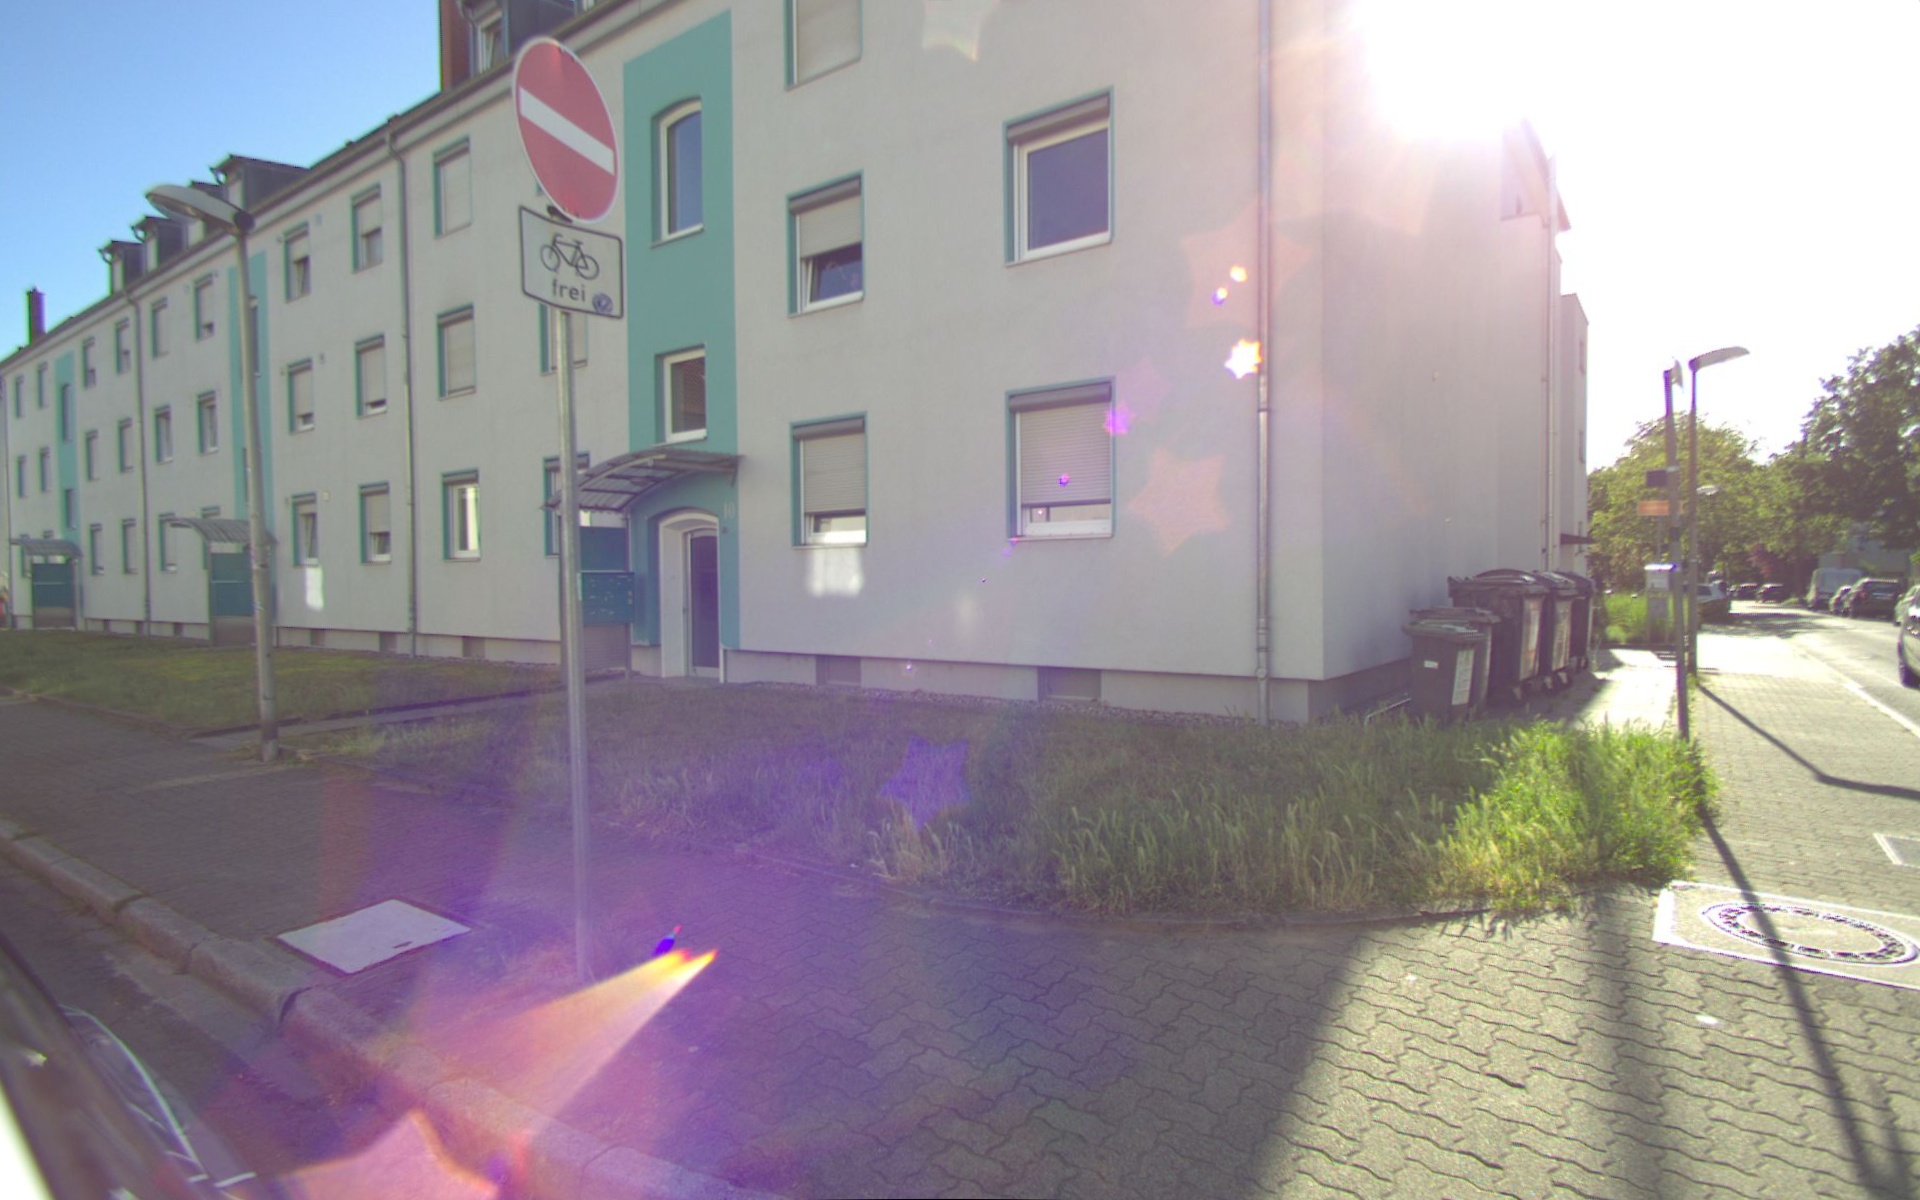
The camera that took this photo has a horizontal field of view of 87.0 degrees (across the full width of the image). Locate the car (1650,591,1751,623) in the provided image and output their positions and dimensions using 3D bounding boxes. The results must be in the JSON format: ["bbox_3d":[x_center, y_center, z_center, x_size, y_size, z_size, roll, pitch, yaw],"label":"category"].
[{"bbox_3d":[29.353,0.282,40.144,3.112,1.246,1.380,0,-1,43],"label":"car"}]

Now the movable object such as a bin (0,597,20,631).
[{"bbox_3d":[-40.106,0.583,42.205,0.876,1.403,1.153,-1,0,36],"label":"movable object such as a bin"}]

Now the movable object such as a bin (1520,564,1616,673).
[{"bbox_3d":[8.902,0.244,14.808,1.043,1.521,1.209,0,1,39],"label":"movable object such as a bin"}]

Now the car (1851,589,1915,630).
[{"bbox_3d":[38.886,0.414,42.704,1.783,1.670,3.520,0,-1,39],"label":"car"}]

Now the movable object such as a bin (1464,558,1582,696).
[{"bbox_3d":[6.650,0.289,11.944,1.043,1.521,1.127,0,1,39],"label":"movable object such as a bin"}]

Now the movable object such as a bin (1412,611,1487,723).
[{"bbox_3d":[4.405,0.583,9.103,0.531,0.956,0.493,0,0,36],"label":"movable object such as a bin"}]

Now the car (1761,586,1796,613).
[{"bbox_3d":[65.324,-0.013,80.764,2.000,2.029,3.944,0,-1,42],"label":"car"}]

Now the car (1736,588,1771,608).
[{"bbox_3d":[70.983,-0.145,90.604,1.993,1.716,3.957,0,-1,31],"label":"car"}]

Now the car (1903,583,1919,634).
[{"bbox_3d":[32.686,0.288,33.589,1.783,1.670,3.520,0,-1,39],"label":"car"}]

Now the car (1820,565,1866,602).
[{"bbox_3d":[48.261,-0.854,55.350,1.783,1.922,3.520,0,-1,39],"label":"car"}]

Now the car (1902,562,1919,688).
[{"bbox_3d":[13.458,0.336,12.744,1.862,1.708,3.951,0,-1,36],"label":"car"}]

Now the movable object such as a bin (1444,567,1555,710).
[{"bbox_3d":[5.690,0.366,10.665,0.847,1.411,1.051,0,1,39],"label":"movable object such as a bin"}]

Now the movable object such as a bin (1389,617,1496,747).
[{"bbox_3d":[4.047,0.658,8.481,0.713,0.999,0.607,-1,1,35],"label":"movable object such as a bin"}]
